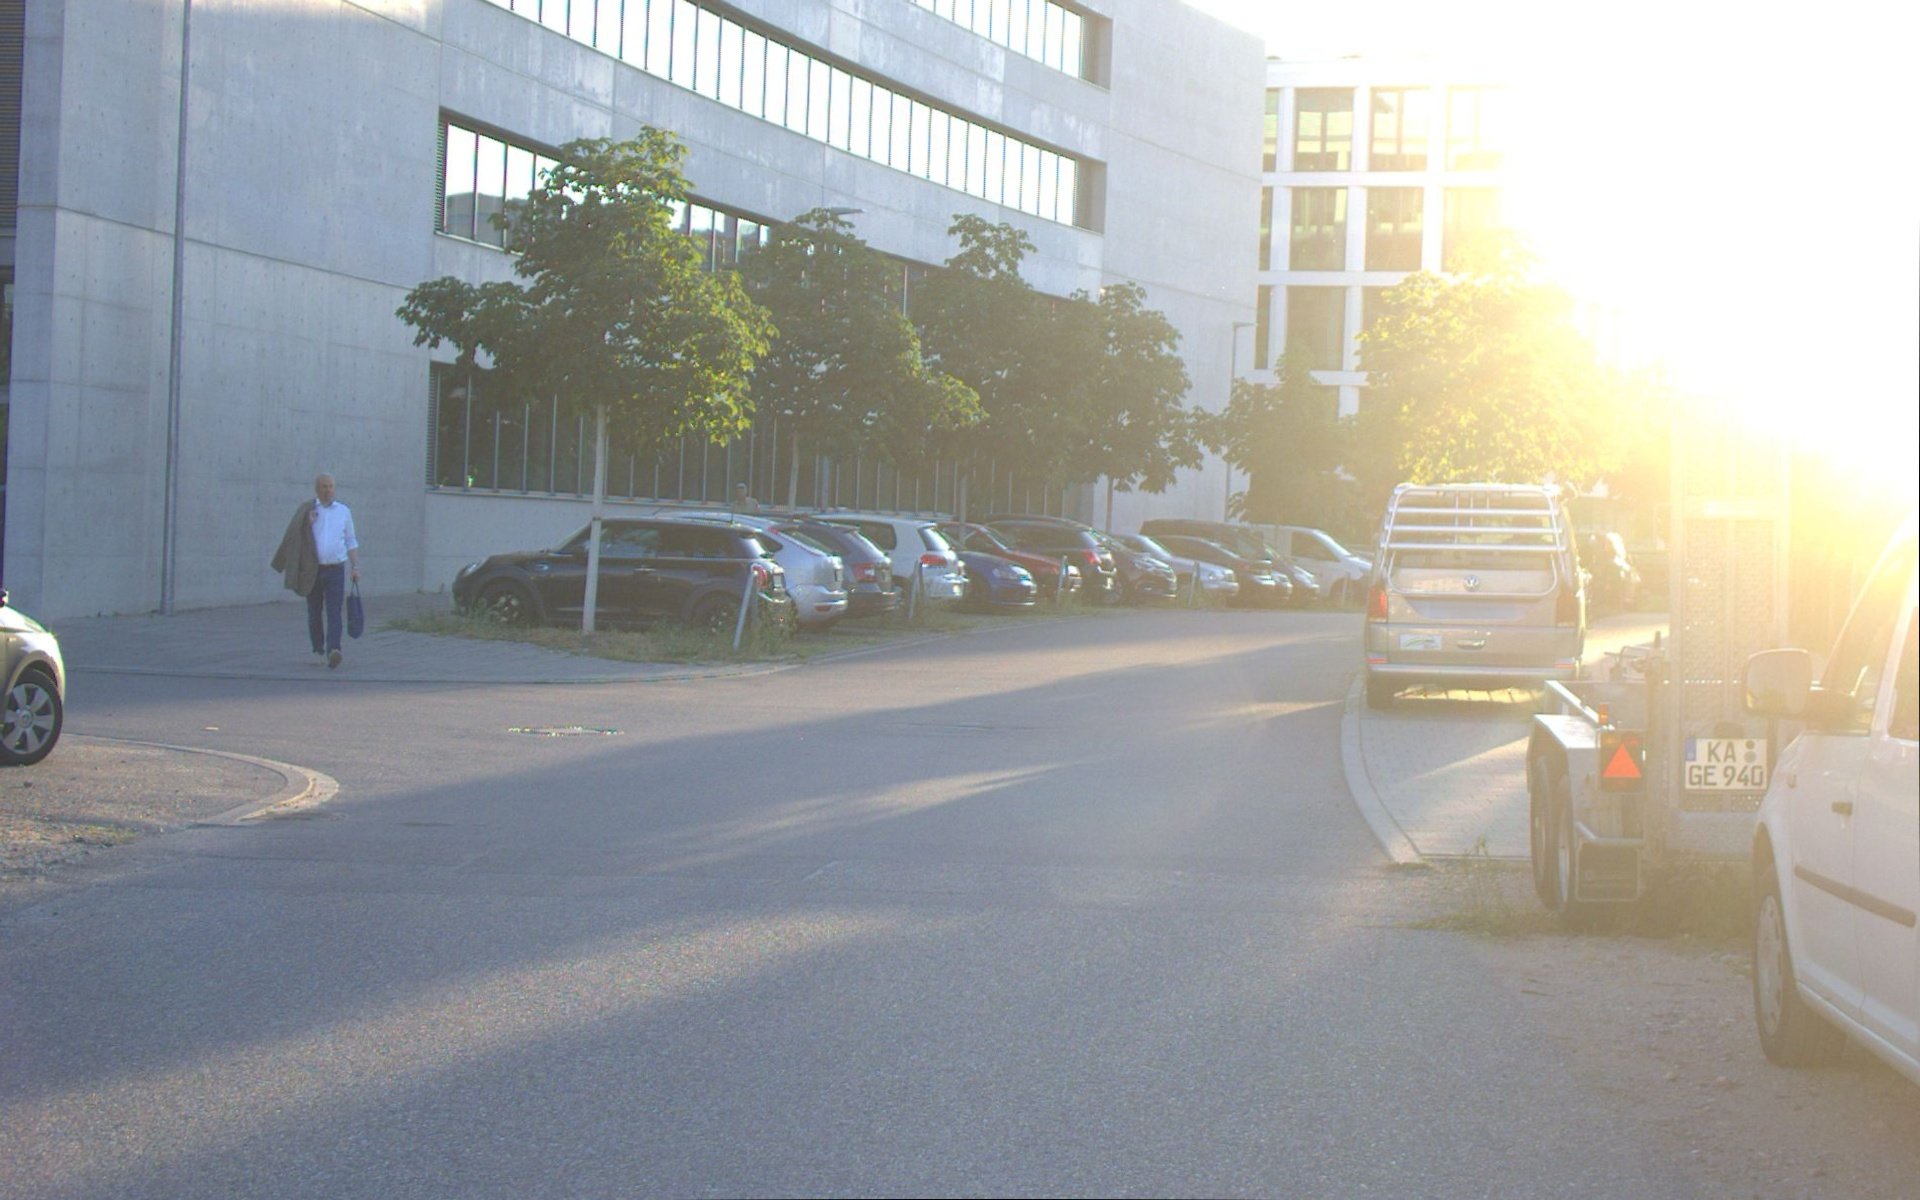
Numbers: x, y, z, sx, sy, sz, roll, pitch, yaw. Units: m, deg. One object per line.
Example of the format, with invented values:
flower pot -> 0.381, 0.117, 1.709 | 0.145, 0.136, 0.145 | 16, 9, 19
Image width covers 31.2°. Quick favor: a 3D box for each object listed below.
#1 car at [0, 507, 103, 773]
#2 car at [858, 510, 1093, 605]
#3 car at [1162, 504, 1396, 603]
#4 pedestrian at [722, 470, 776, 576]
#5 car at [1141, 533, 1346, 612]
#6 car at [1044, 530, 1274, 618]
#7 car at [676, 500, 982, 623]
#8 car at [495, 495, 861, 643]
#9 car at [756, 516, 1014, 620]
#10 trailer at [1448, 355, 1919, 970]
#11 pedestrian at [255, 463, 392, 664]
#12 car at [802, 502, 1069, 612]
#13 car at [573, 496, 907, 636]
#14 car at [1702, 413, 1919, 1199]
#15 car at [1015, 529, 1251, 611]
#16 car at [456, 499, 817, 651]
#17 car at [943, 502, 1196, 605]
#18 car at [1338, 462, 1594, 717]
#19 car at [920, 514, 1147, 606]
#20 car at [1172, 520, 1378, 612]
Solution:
car -> -6.521, 0.183, 18.844 | 1.687, 1.514, 4.358 | 4, 1, 13
car -> 0.280, -0.732, 59.603 | 3.705, 1.452, 1.710 | 3, 1, 14
car -> 7.556, -1.113, 81.525 | 5.082, 1.940, 1.887 | 5, 1, 20
pedestrian -> -3.617, -1.318, 59.023 | 0.646, 1.778, 0.724 | 4, 1, 13
car -> 6.303, -0.608, 76.305 | 4.148, 1.399, 1.723 | 5, 1, 20
car -> 4.171, -0.554, 72.141 | 4.403, 1.494, 1.761 | 5, 1, 23
car -> -1.858, -0.567, 49.109 | 3.989, 1.506, 1.759 | 3, 2, 12
car -> -3.413, -0.394, 41.983 | 4.087, 1.523, 1.846 | 4, 2, 7
car -> -1.118, -0.509, 52.445 | 3.634, 1.357, 1.685 | 3, 2, 9
trailer -> 3.469, 0.173, 15.070 | 2.064, 2.204, 5.222 | 1, 1, 2
pedestrian -> -5.977, -0.349, 32.287 | 0.856, 1.844, 0.900 | 3, 2, 45
car -> -0.378, -0.694, 54.692 | 3.872, 1.506, 1.759 | 4, 2, 14
car -> -2.811, -0.457, 44.272 | 3.999, 1.507, 1.585 | 4, 3, 7
car -> 3.127, 0.484, 8.780 | 1.771, 1.825, 4.407 | 1, 1, 4
car -> 3.519, -0.621, 69.864 | 4.438, 1.459, 1.761 | 3, 2, 19
car -> -3.658, -0.307, 39.231 | 3.735, 1.477, 1.769 | 3, 2, 8
car -> 2.050, -0.867, 64.123 | 4.312, 1.690, 1.895 | 3, 1, 16
car -> 4.654, -0.147, 31.264 | 2.066, 2.087, 4.870 | 2, 1, 10
car -> 1.331, -0.722, 61.574 | 3.705, 1.452, 1.678 | 3, 1, 16
car -> 7.152, -0.774, 78.046 | 4.251, 1.736, 1.723 | 5, 1, 20
